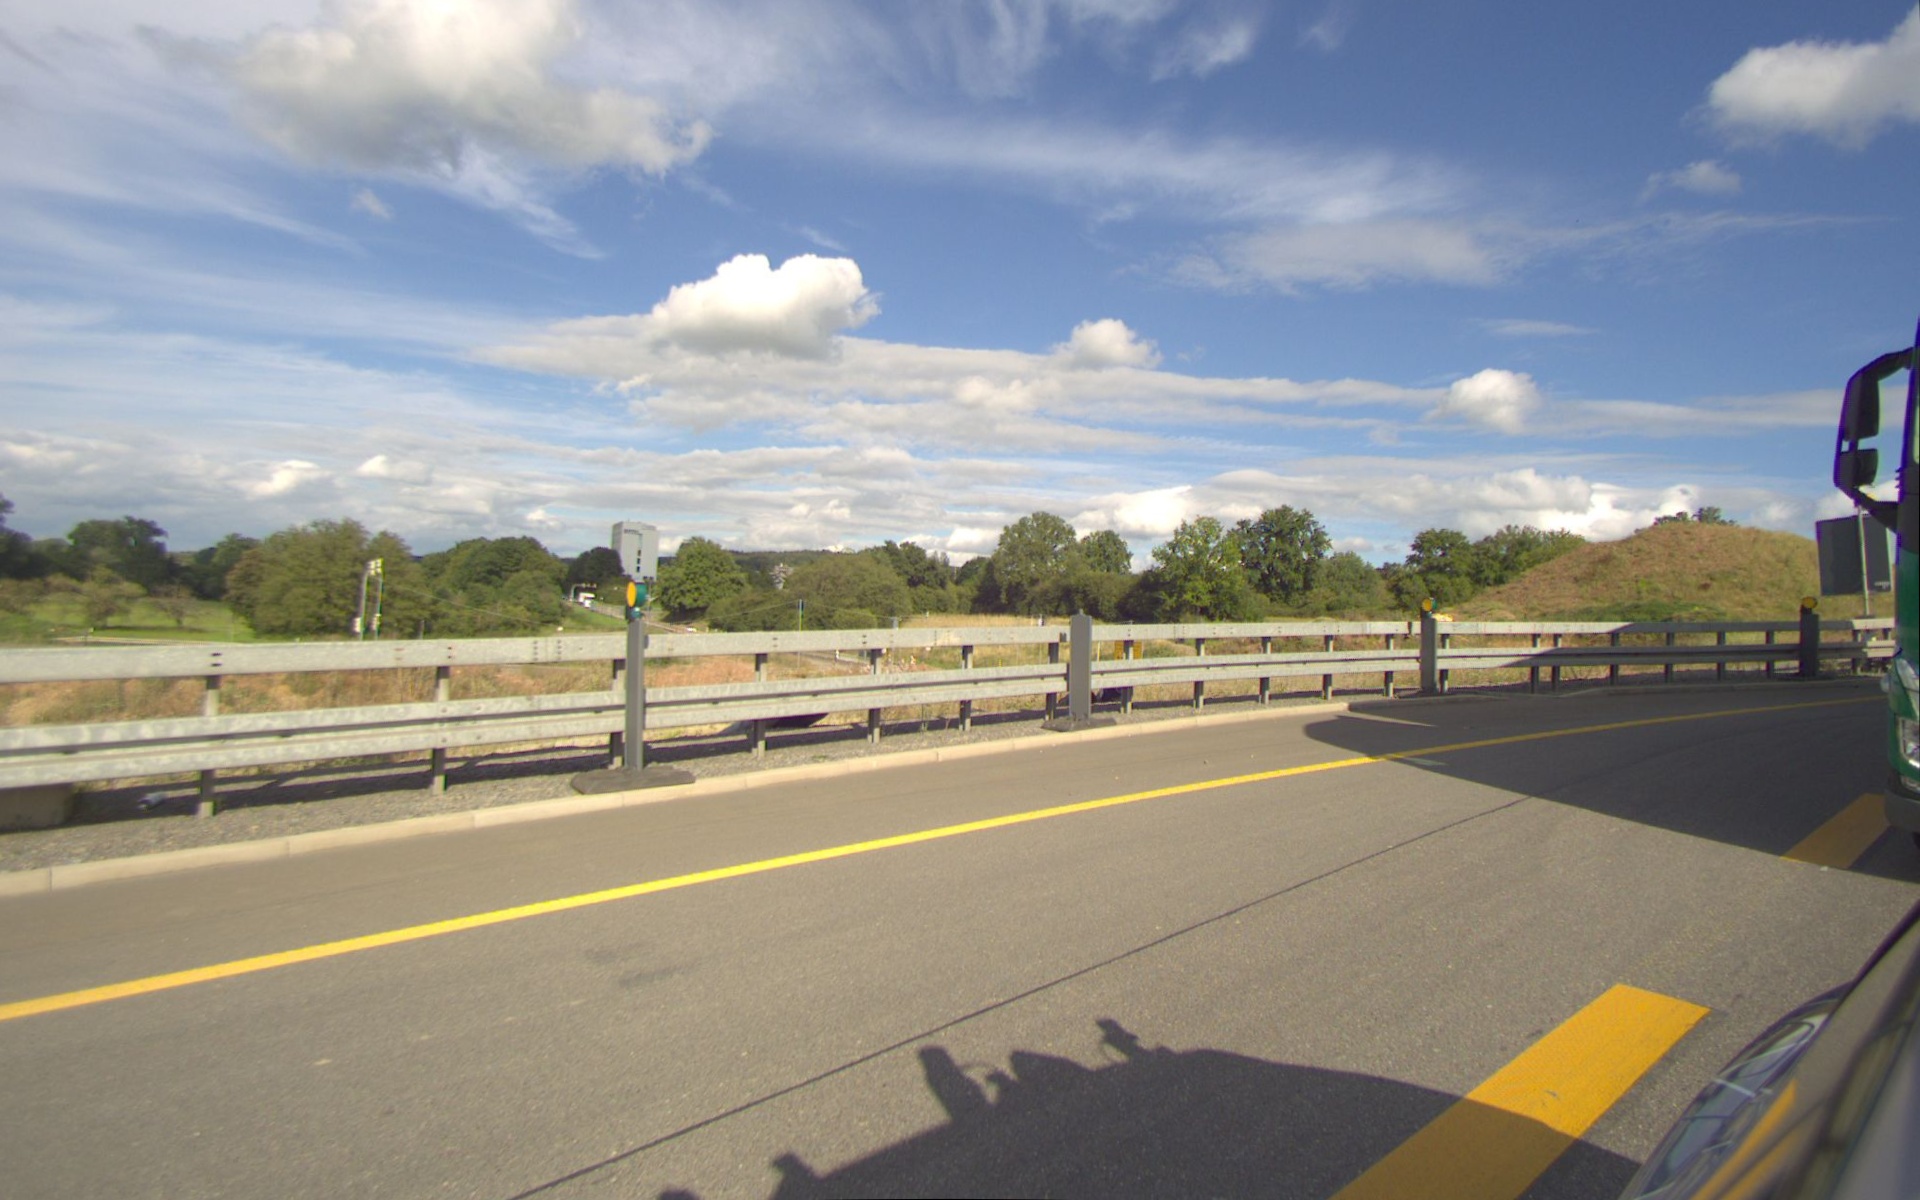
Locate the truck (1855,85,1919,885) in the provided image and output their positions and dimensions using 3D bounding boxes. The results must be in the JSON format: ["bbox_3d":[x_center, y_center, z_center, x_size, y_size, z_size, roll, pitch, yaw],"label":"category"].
[{"bbox_3d":[9.163,-0.635,7.495,10.141,3.896,2.660,-1,0,-42],"label":"truck"}]
